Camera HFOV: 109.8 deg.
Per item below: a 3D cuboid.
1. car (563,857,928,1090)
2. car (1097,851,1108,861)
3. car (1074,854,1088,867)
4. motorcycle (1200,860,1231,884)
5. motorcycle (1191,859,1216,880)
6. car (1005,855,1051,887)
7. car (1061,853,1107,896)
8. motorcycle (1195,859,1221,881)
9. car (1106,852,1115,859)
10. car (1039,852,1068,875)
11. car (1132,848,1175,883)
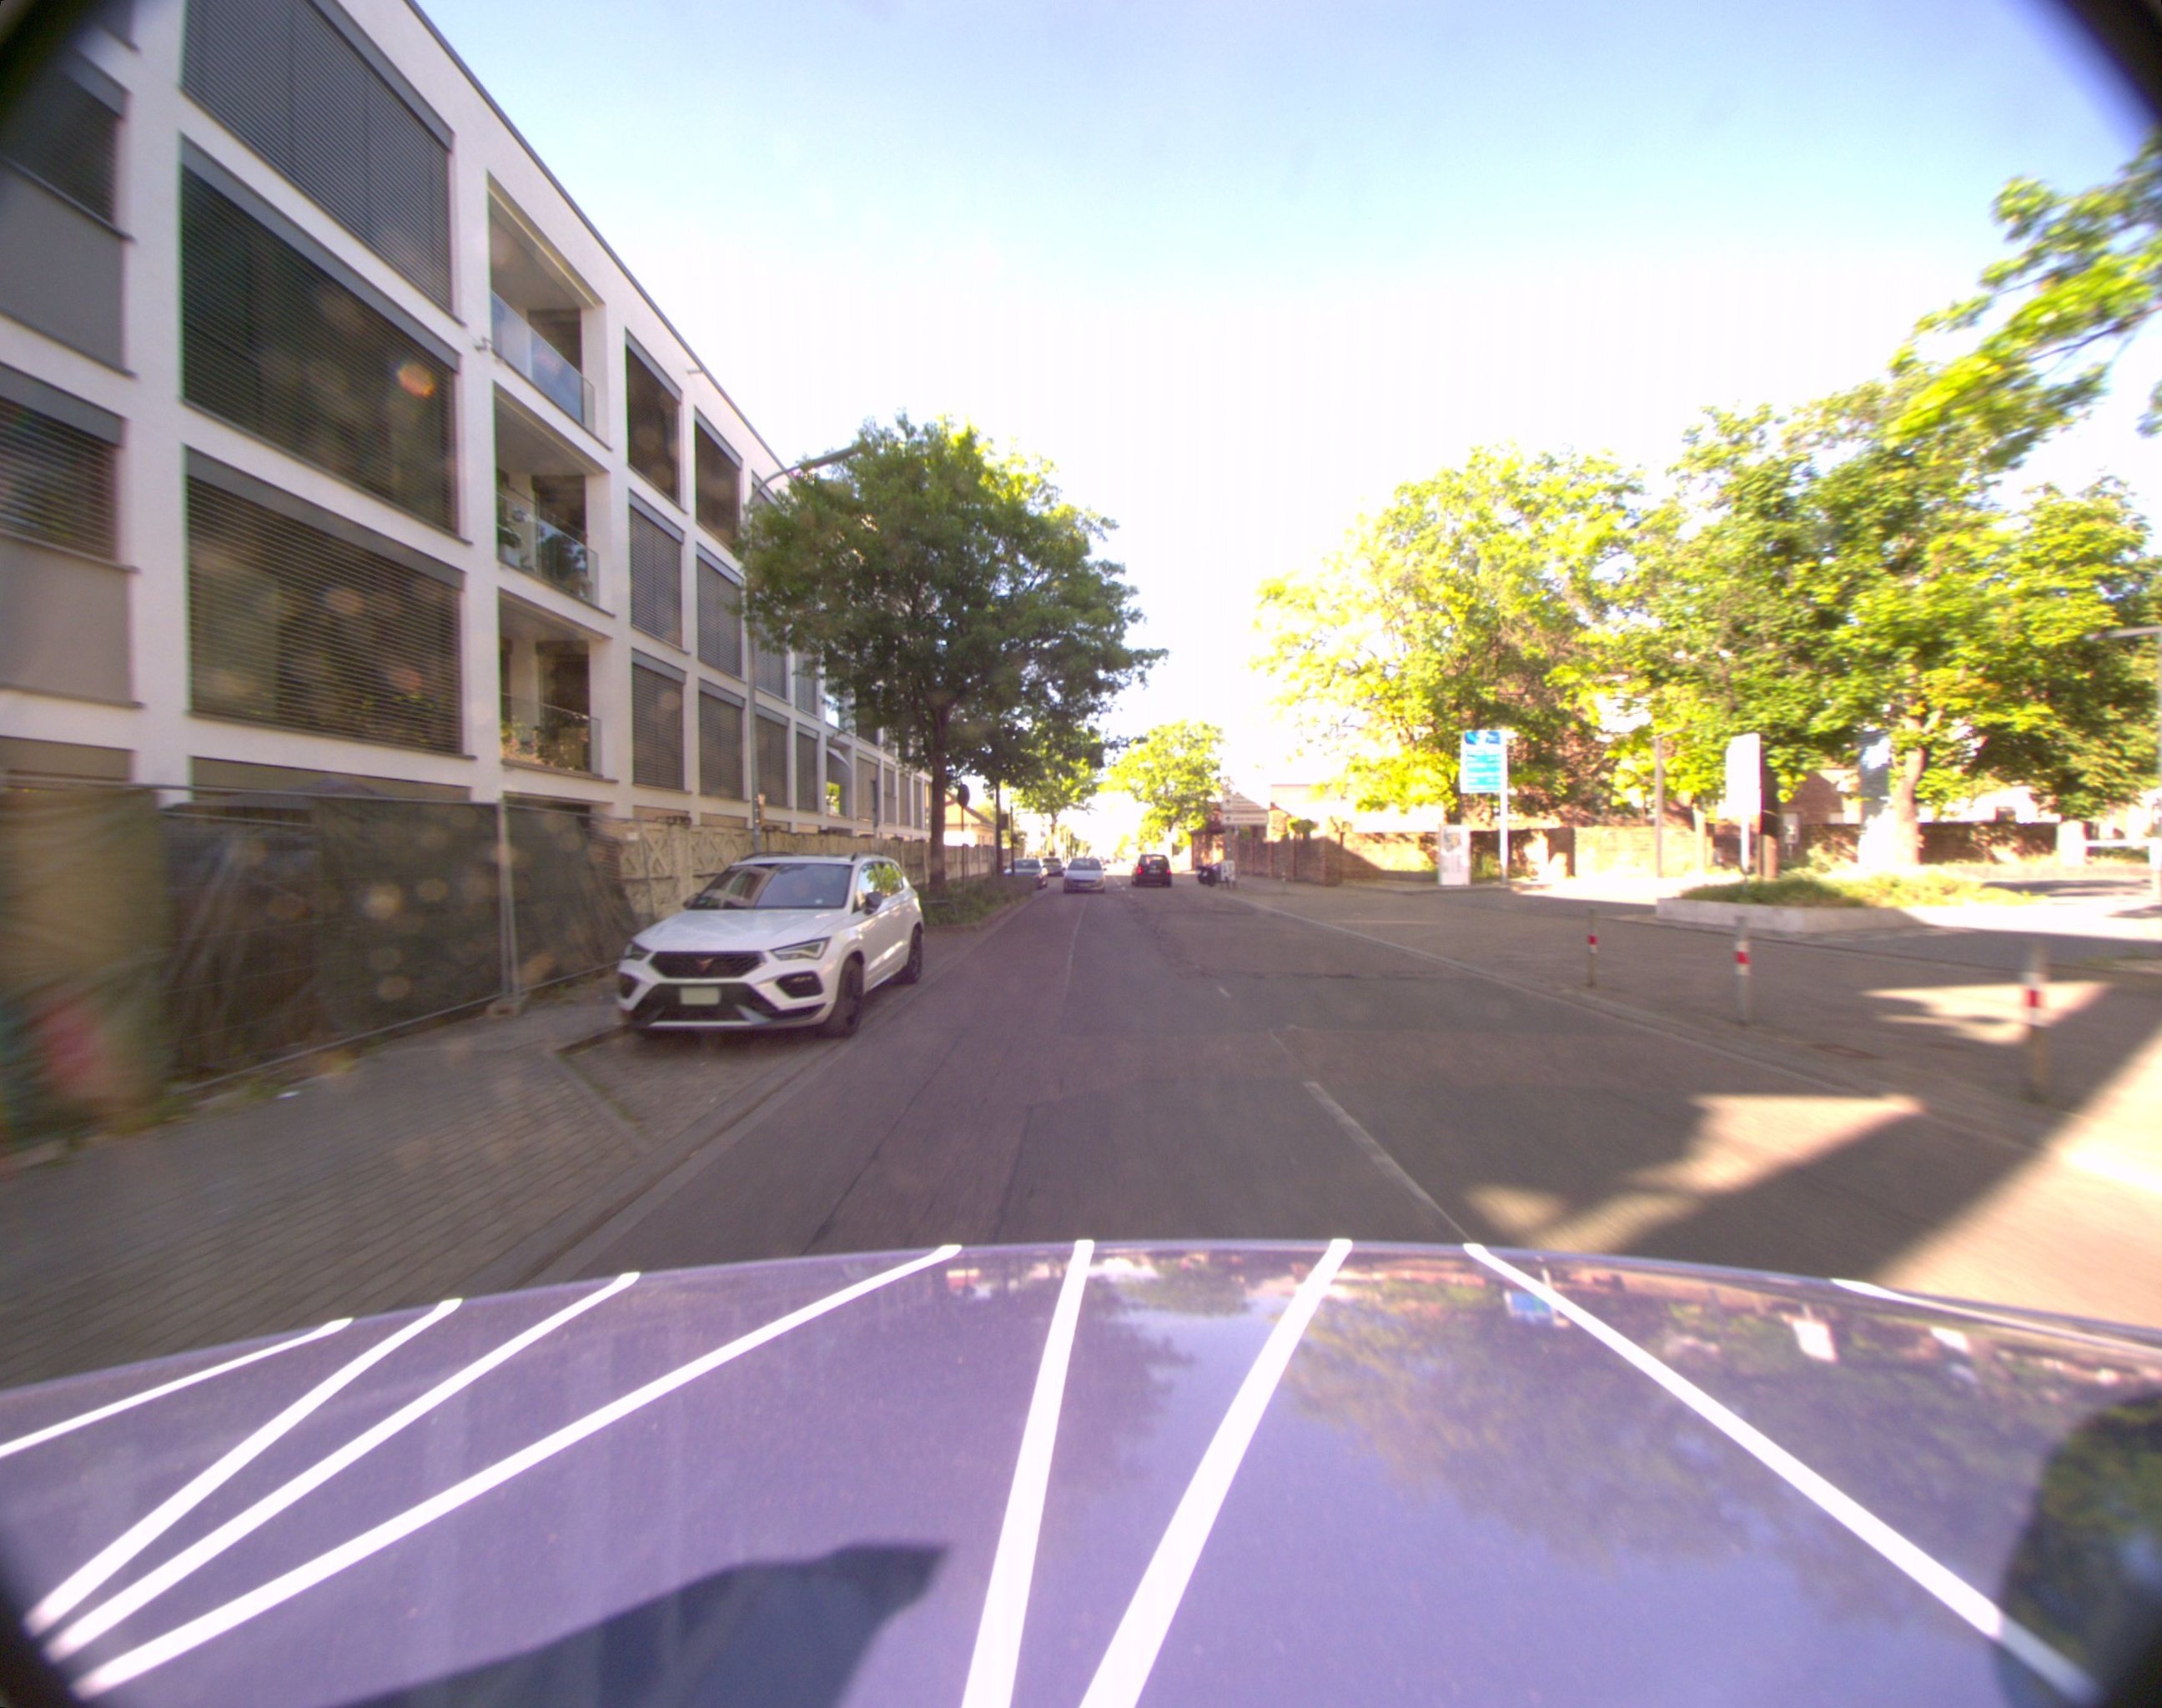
[{"bbox_3d":[-2.860,0.885,7.612,1.797,1.606,4.126,-2,0,0],"label":"car"},{"bbox_3d":[4.040,0.411,142.973,1.834,1.732,4.000,-2,1,1],"label":"car"},{"bbox_3d":[0.001,0.809,97.190,1.757,1.459,3.485,-2,1,0],"label":"car"},{"bbox_3d":[6.387,0.840,35.950,0.599,1.026,2.132,-1,0,35],"label":"motorcycle"},{"bbox_3d":[6.518,0.808,40.361,0.530,1.033,2.095,-2,0,32],"label":"motorcycle"},{"bbox_3d":[-2.494,0.789,36.480,1.724,1.402,4.763,-1,0,2],"label":"car"},{"bbox_3d":[0.183,0.803,32.002,1.747,1.613,4.106,-2,1,2],"label":"car"},{"bbox_3d":[6.502,0.803,38.840,0.530,1.033,2.095,-2,0,32],"label":"motorcycle"},{"bbox_3d":[7.786,0.357,200.631,1.998,1.407,3.999,-9,1,2],"label":"car"},{"bbox_3d":[-2.026,0.683,57.760,1.887,1.592,4.298,-2,0,2],"label":"car"},{"bbox_3d":[3.498,0.504,37.240,1.648,1.602,4.020,1,0,-1],"label":"car"}]
